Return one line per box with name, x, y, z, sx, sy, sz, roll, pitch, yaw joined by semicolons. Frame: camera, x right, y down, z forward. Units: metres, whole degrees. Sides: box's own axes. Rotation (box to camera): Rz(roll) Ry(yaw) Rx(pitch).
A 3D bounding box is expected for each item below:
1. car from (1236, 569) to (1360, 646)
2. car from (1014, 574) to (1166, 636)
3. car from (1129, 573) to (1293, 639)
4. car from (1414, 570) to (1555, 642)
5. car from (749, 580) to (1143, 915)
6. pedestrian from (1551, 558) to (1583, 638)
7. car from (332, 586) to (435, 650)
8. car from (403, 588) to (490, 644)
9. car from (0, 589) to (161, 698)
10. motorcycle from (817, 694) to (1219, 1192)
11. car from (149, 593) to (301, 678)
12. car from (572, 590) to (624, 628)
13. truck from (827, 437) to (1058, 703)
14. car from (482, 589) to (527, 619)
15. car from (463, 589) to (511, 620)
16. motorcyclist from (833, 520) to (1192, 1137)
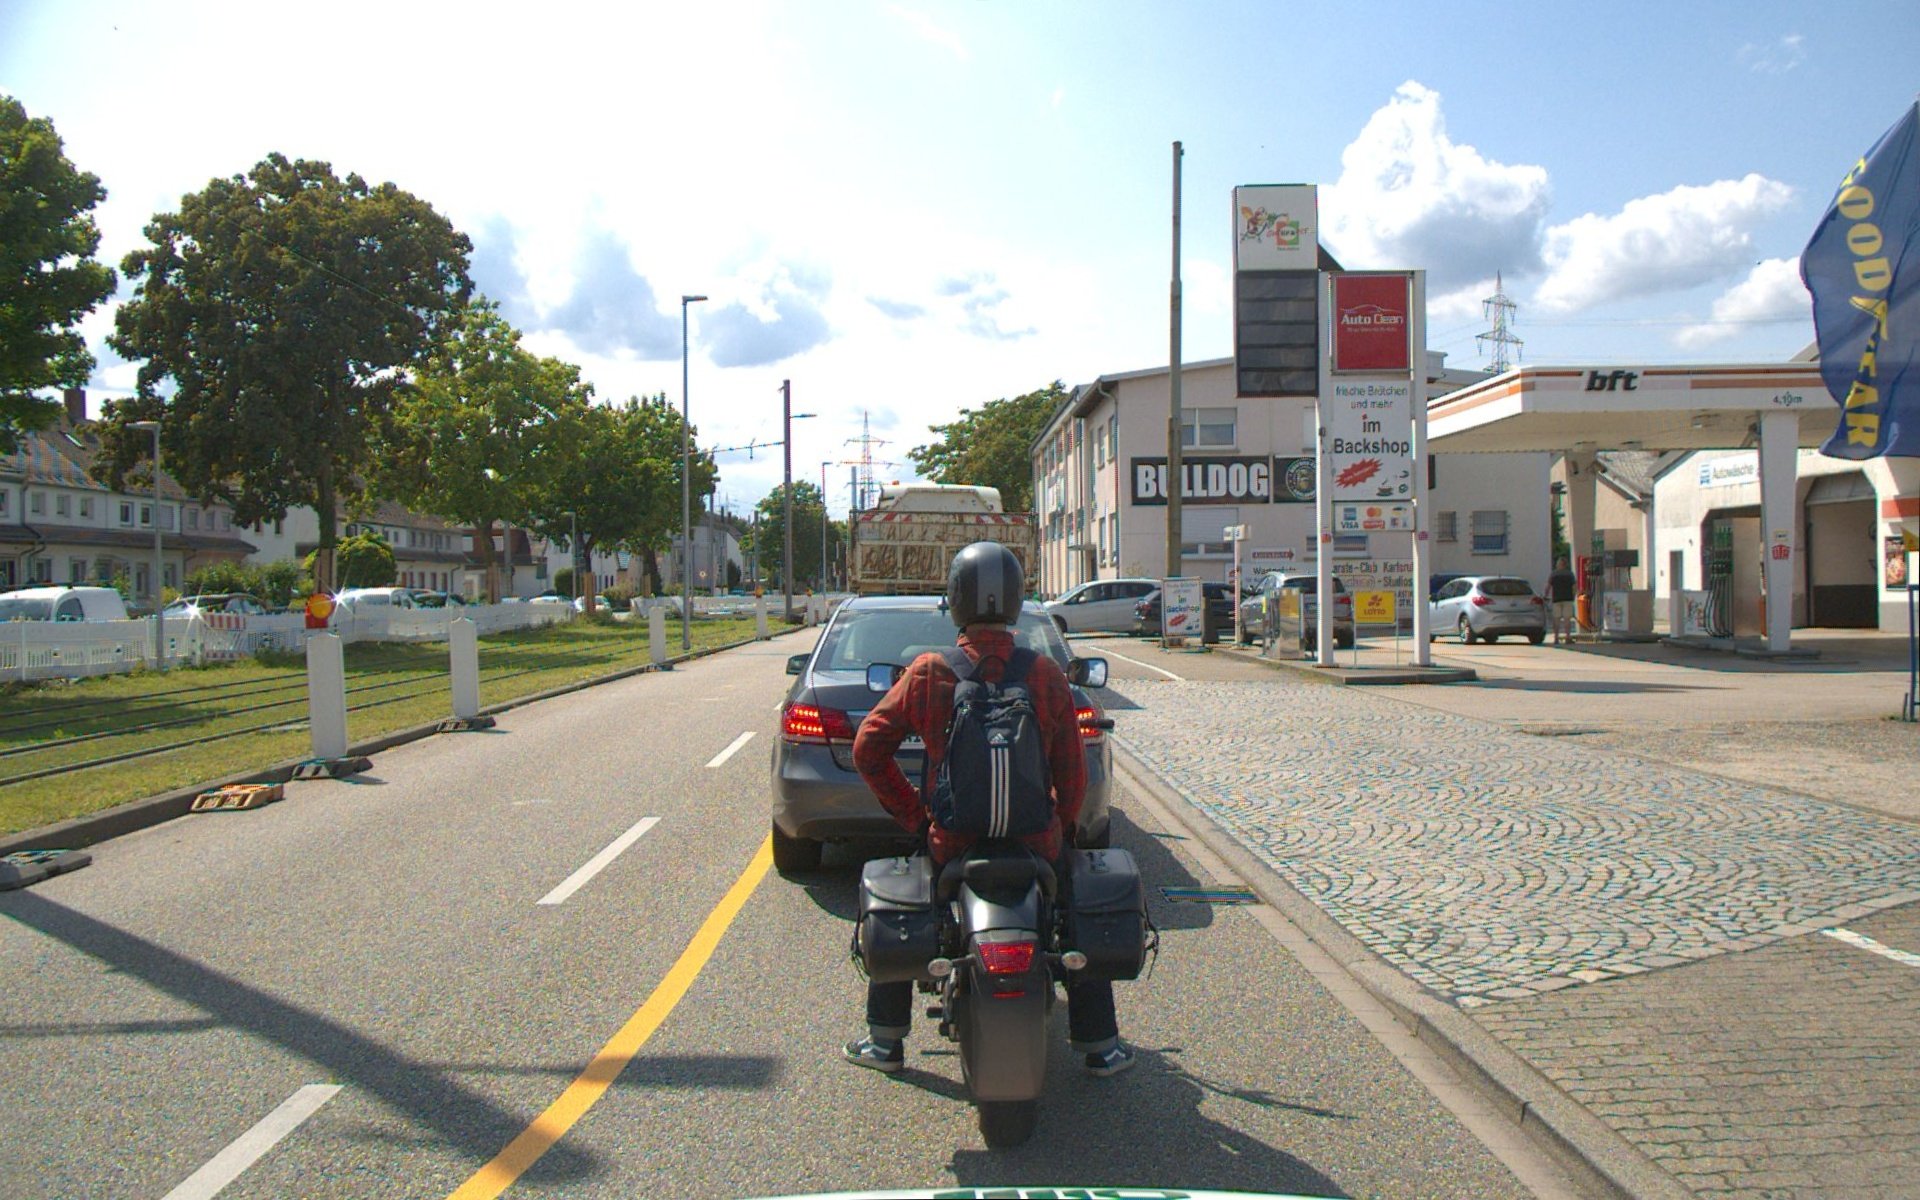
car;7.432;0.142;36.761;1.795;1.562;4.008;-1;0;-2
car;3.675;0.118;47.089;4.029;1.652;1.682;-1;0;-9
car;6.658;0.156;44.109;4.024;1.652;1.685;-1;0;-4
car;11.777;0.103;37.425;1.795;1.505;4.008;-1;0;-2
car;-0.124;0.661;9.660;1.795;1.505;4.008;-1;0;-2
pedestrian;13.139;-0.047;35.797;0.621;1.712;0.622;-1;0;20
car;-16.887;0.491;48.621;1.664;1.770;3.860;-1;0;-1
car;-17.015;0.495;54.986;1.664;1.770;3.860;-1;0;-1
car;-16.413;0.741;30.299;1.664;1.849;3.860;-1;0;-1
motorcycle;0.123;0.898;5.199;0.956;1.031;2.431;1;0;-1
car;-16.668;0.755;37.722;1.664;1.770;4.053;-1;0;-1
car;-17.385;0.403;79.609;1.664;1.770;3.860;-1;0;-1
truck;-0.351;-0.423;25.474;2.910;3.362;8.404;-1;0;-2
car;-28.661;0.229;104.152;1.664;1.770;4.061;-1;0;-1
car;-28.058;0.258;98.150;1.664;1.770;4.061;-1;0;-1
motorcyclist;0.134;0.616;5.081;0.950;1.662;1.214;1;0;-1
